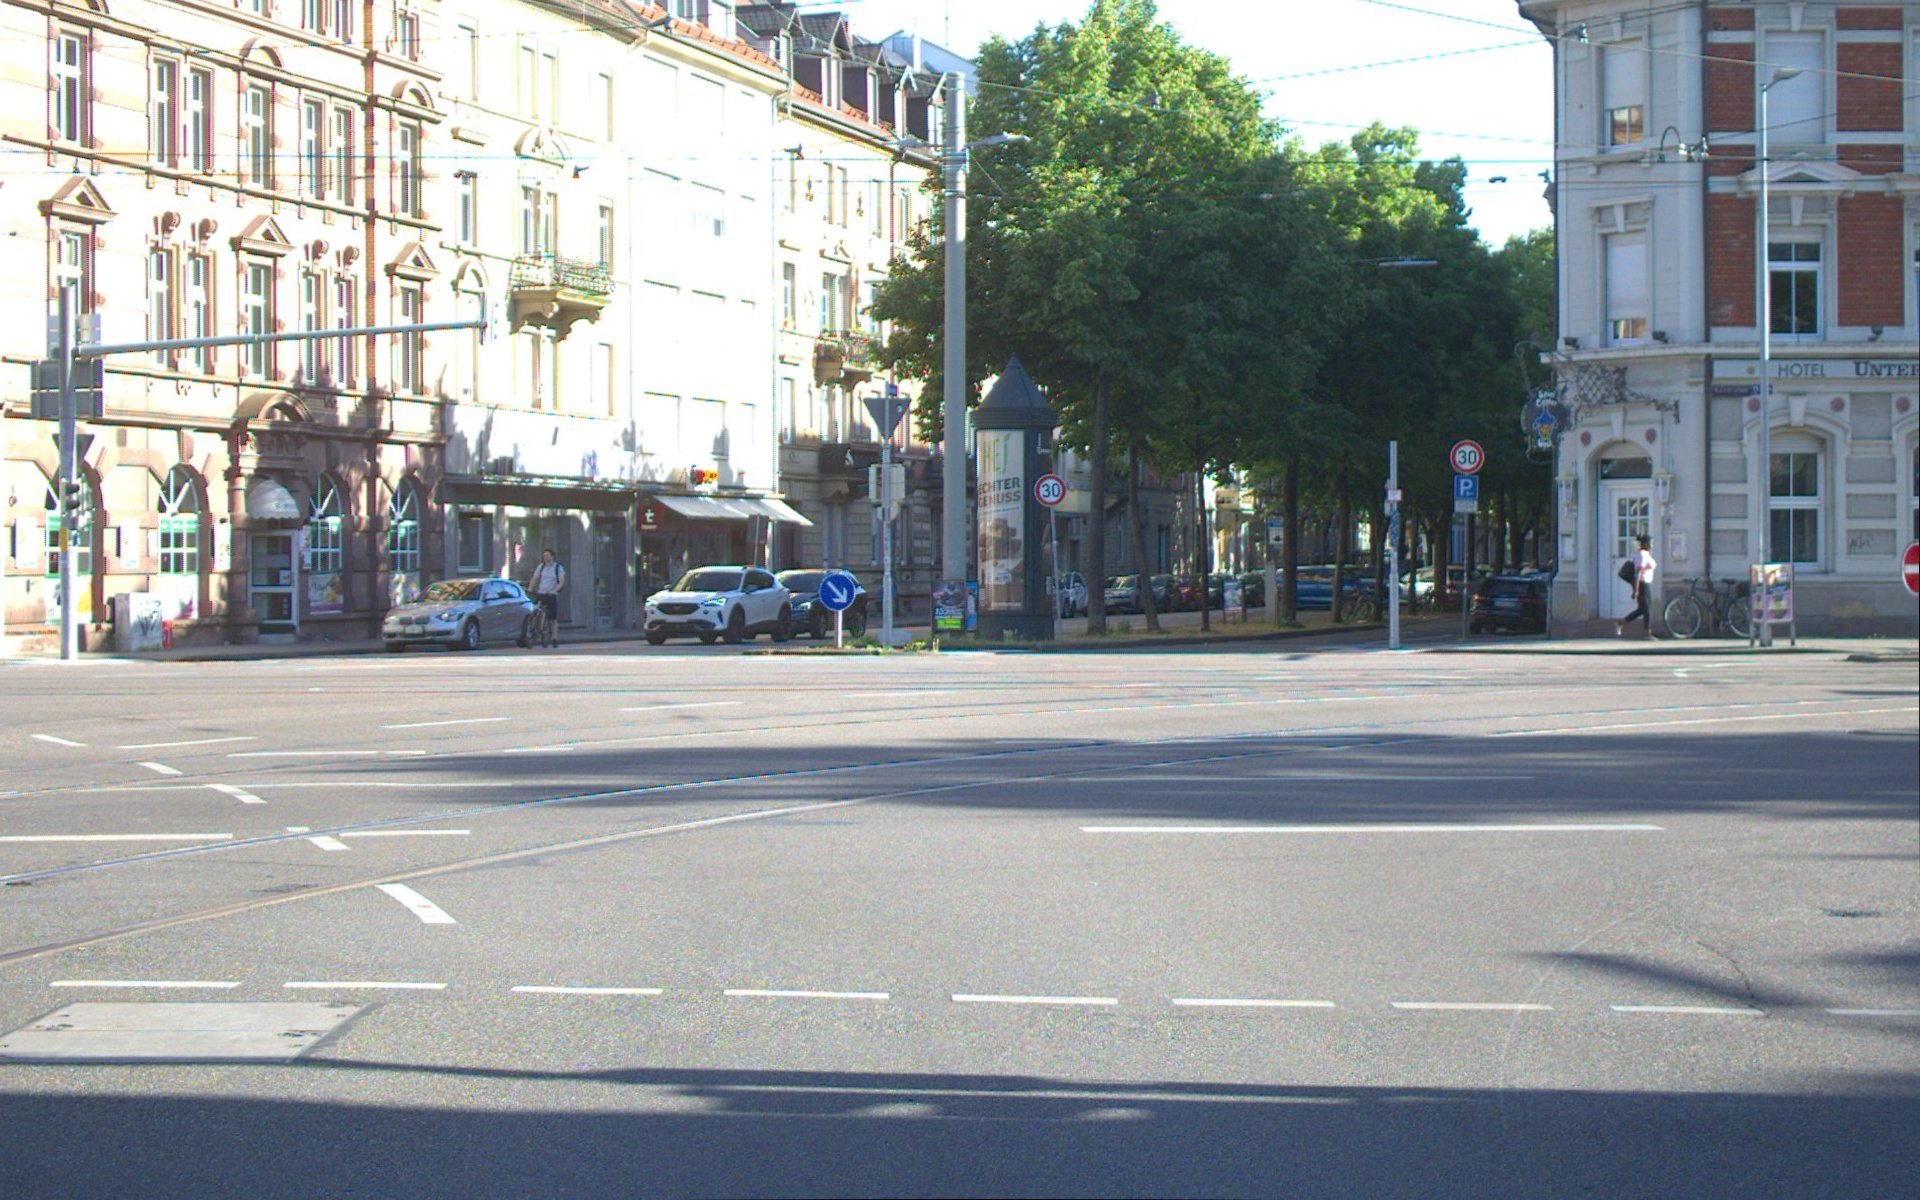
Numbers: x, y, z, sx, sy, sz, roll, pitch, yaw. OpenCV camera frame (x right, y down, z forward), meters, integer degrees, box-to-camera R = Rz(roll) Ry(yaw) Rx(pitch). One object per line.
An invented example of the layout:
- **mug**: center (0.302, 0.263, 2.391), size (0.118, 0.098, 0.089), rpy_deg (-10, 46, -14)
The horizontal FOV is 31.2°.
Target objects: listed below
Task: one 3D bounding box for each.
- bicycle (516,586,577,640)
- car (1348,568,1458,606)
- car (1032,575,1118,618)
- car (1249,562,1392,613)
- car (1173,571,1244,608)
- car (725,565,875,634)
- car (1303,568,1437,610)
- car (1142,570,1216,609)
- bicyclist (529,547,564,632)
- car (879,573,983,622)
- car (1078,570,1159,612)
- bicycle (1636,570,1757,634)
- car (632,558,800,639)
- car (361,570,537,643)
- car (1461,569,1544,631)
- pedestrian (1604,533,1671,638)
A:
- **bicycle**: center (-7.844, 0.237, 65.301), size (0.655, 0.997, 1.664), rpy_deg (1, 1, 12)
- **car**: center (14.366, -0.424, 111.467), size (3.435, 1.235, 1.576), rpy_deg (0, 1, 11)
- **car**: center (3.943, -0.144, 116.861), size (1.995, 1.400, 4.166), rpy_deg (0, 1, 16)
- **car**: center (10.451, -0.357, 99.685), size (3.989, 1.450, 1.681), rpy_deg (0, 1, 11)
- **car**: center (9.885, -0.442, 136.604), size (1.995, 1.400, 4.166), rpy_deg (0, 1, 16)
- **car**: center (-3.395, -0.036, 73.645), size (1.995, 1.400, 4.166), rpy_deg (0, 1, 16)
- **car**: center (12.581, -0.343, 105.394), size (3.989, 1.284, 1.694), rpy_deg (0, 1, 11)
- **car**: center (8.408, -0.410, 131.407), size (1.995, 1.400, 4.166), rpy_deg (0, 1, 16)
- **bicyclist**: center (-7.836, -0.198, 65.194), size (0.489, 1.596, 0.666), rpy_deg (0, 1, 10)
- **car**: center (-0.840, -0.085, 102.091), size (1.995, 1.400, 4.166), rpy_deg (0, 1, 16)
- **car**: center (5.655, -0.333, 122.580), size (1.995, 1.400, 4.166), rpy_deg (0, 1, 16)
- **bicycle**: center (12.273, 0.027, 57.343), size (1.953, 1.050, 0.715), rpy_deg (0, 1, 10)
- **car**: center (-4.748, -0.049, 67.471), size (1.995, 1.511, 4.166), rpy_deg (0, 1, 16)
- **car**: center (-9.924, 0.107, 67.044), size (1.995, 1.357, 3.816), rpy_deg (0, 1, 16)
- **car**: center (13.051, -0.022, 82.529), size (1.756, 1.415, 3.998), rpy_deg (0, 1, 12)
- **pedestrian**: center (11.139, -0.243, 56.542), size (1.036, 1.706, 0.629), rpy_deg (1, 0, 9)
